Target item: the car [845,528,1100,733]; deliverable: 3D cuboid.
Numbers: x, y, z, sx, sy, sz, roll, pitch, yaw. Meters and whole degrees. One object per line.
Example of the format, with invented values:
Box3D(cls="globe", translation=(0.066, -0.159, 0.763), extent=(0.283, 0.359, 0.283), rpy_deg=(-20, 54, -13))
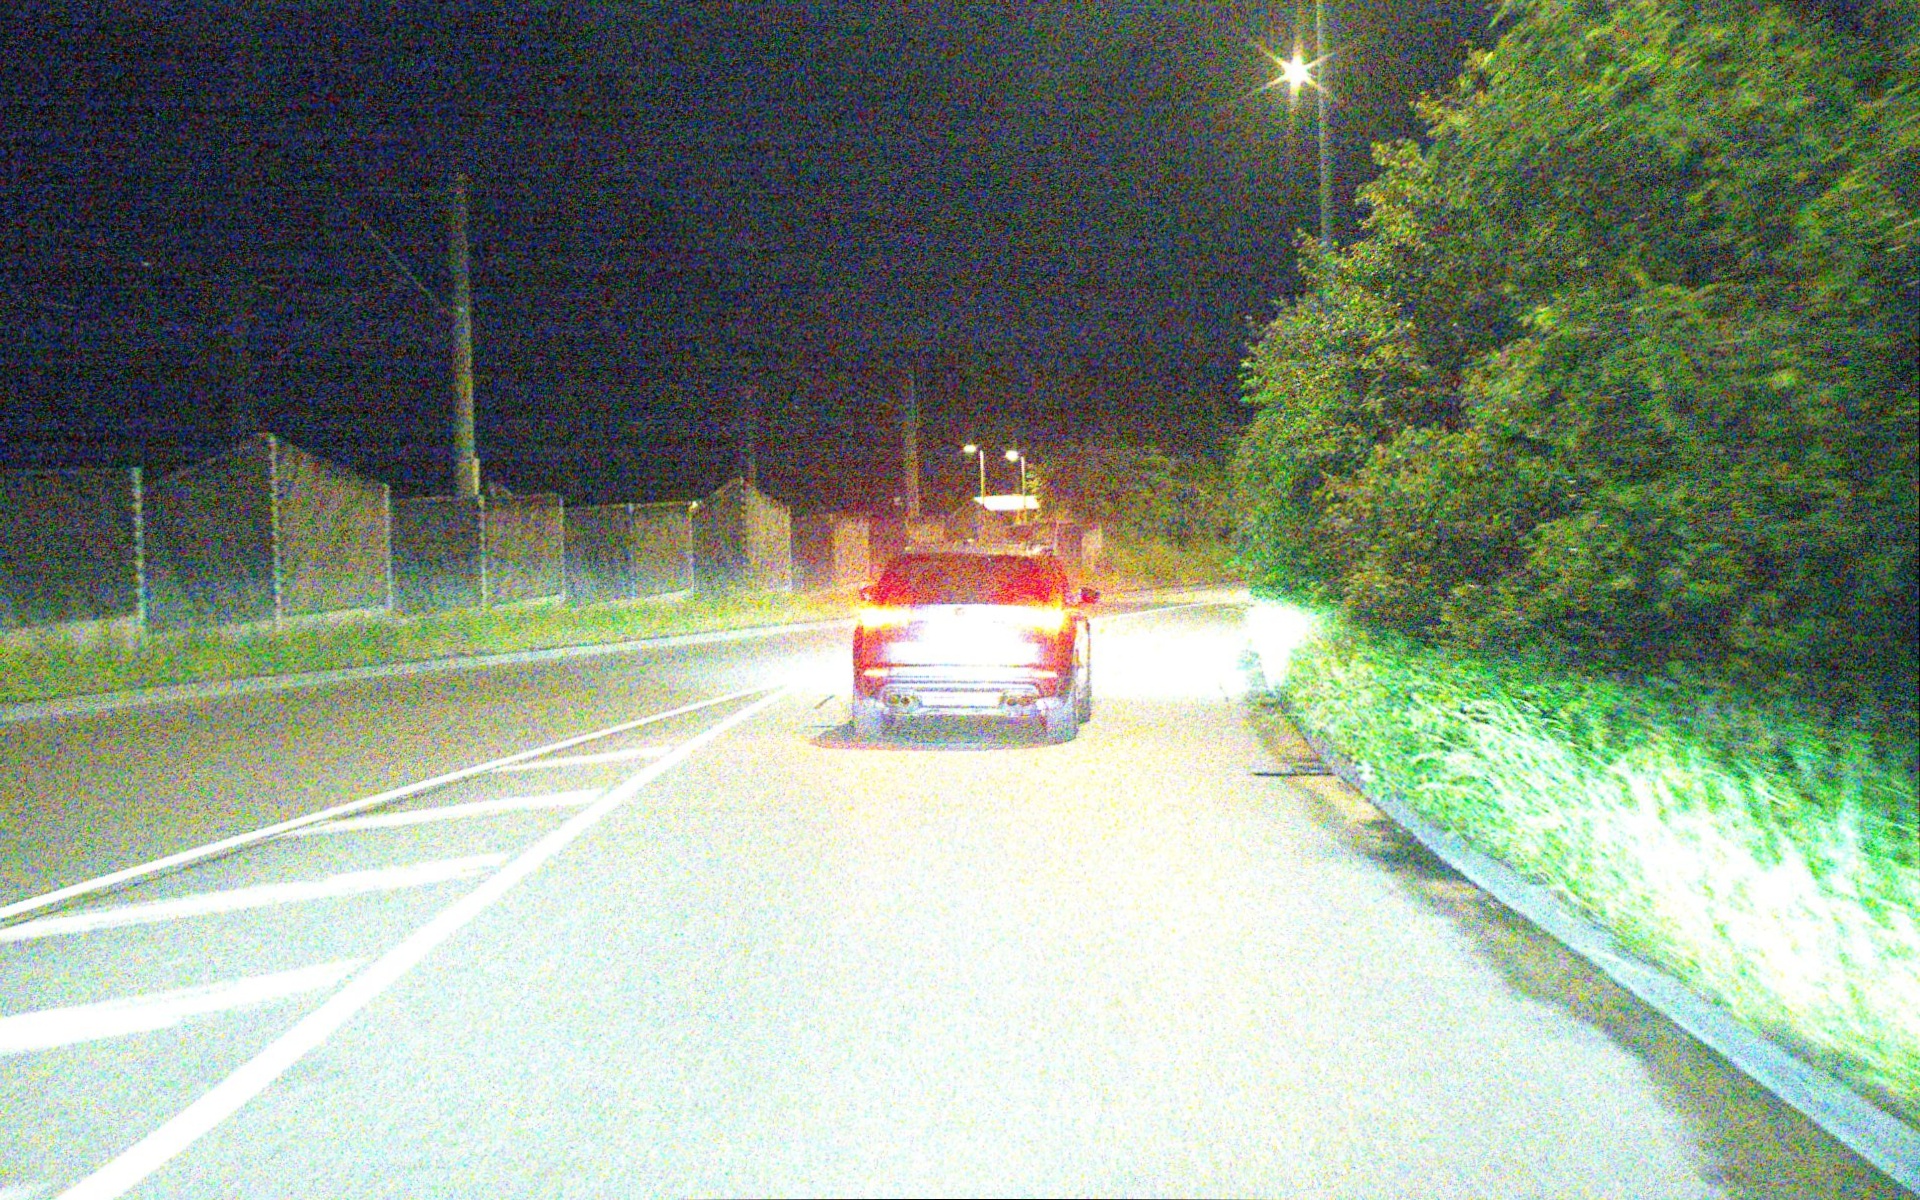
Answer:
Box3D(cls="car", translation=(0.174, 0.198, 28.674), extent=(1.815, 1.568, 3.943), rpy_deg=(1, 1, 5))
